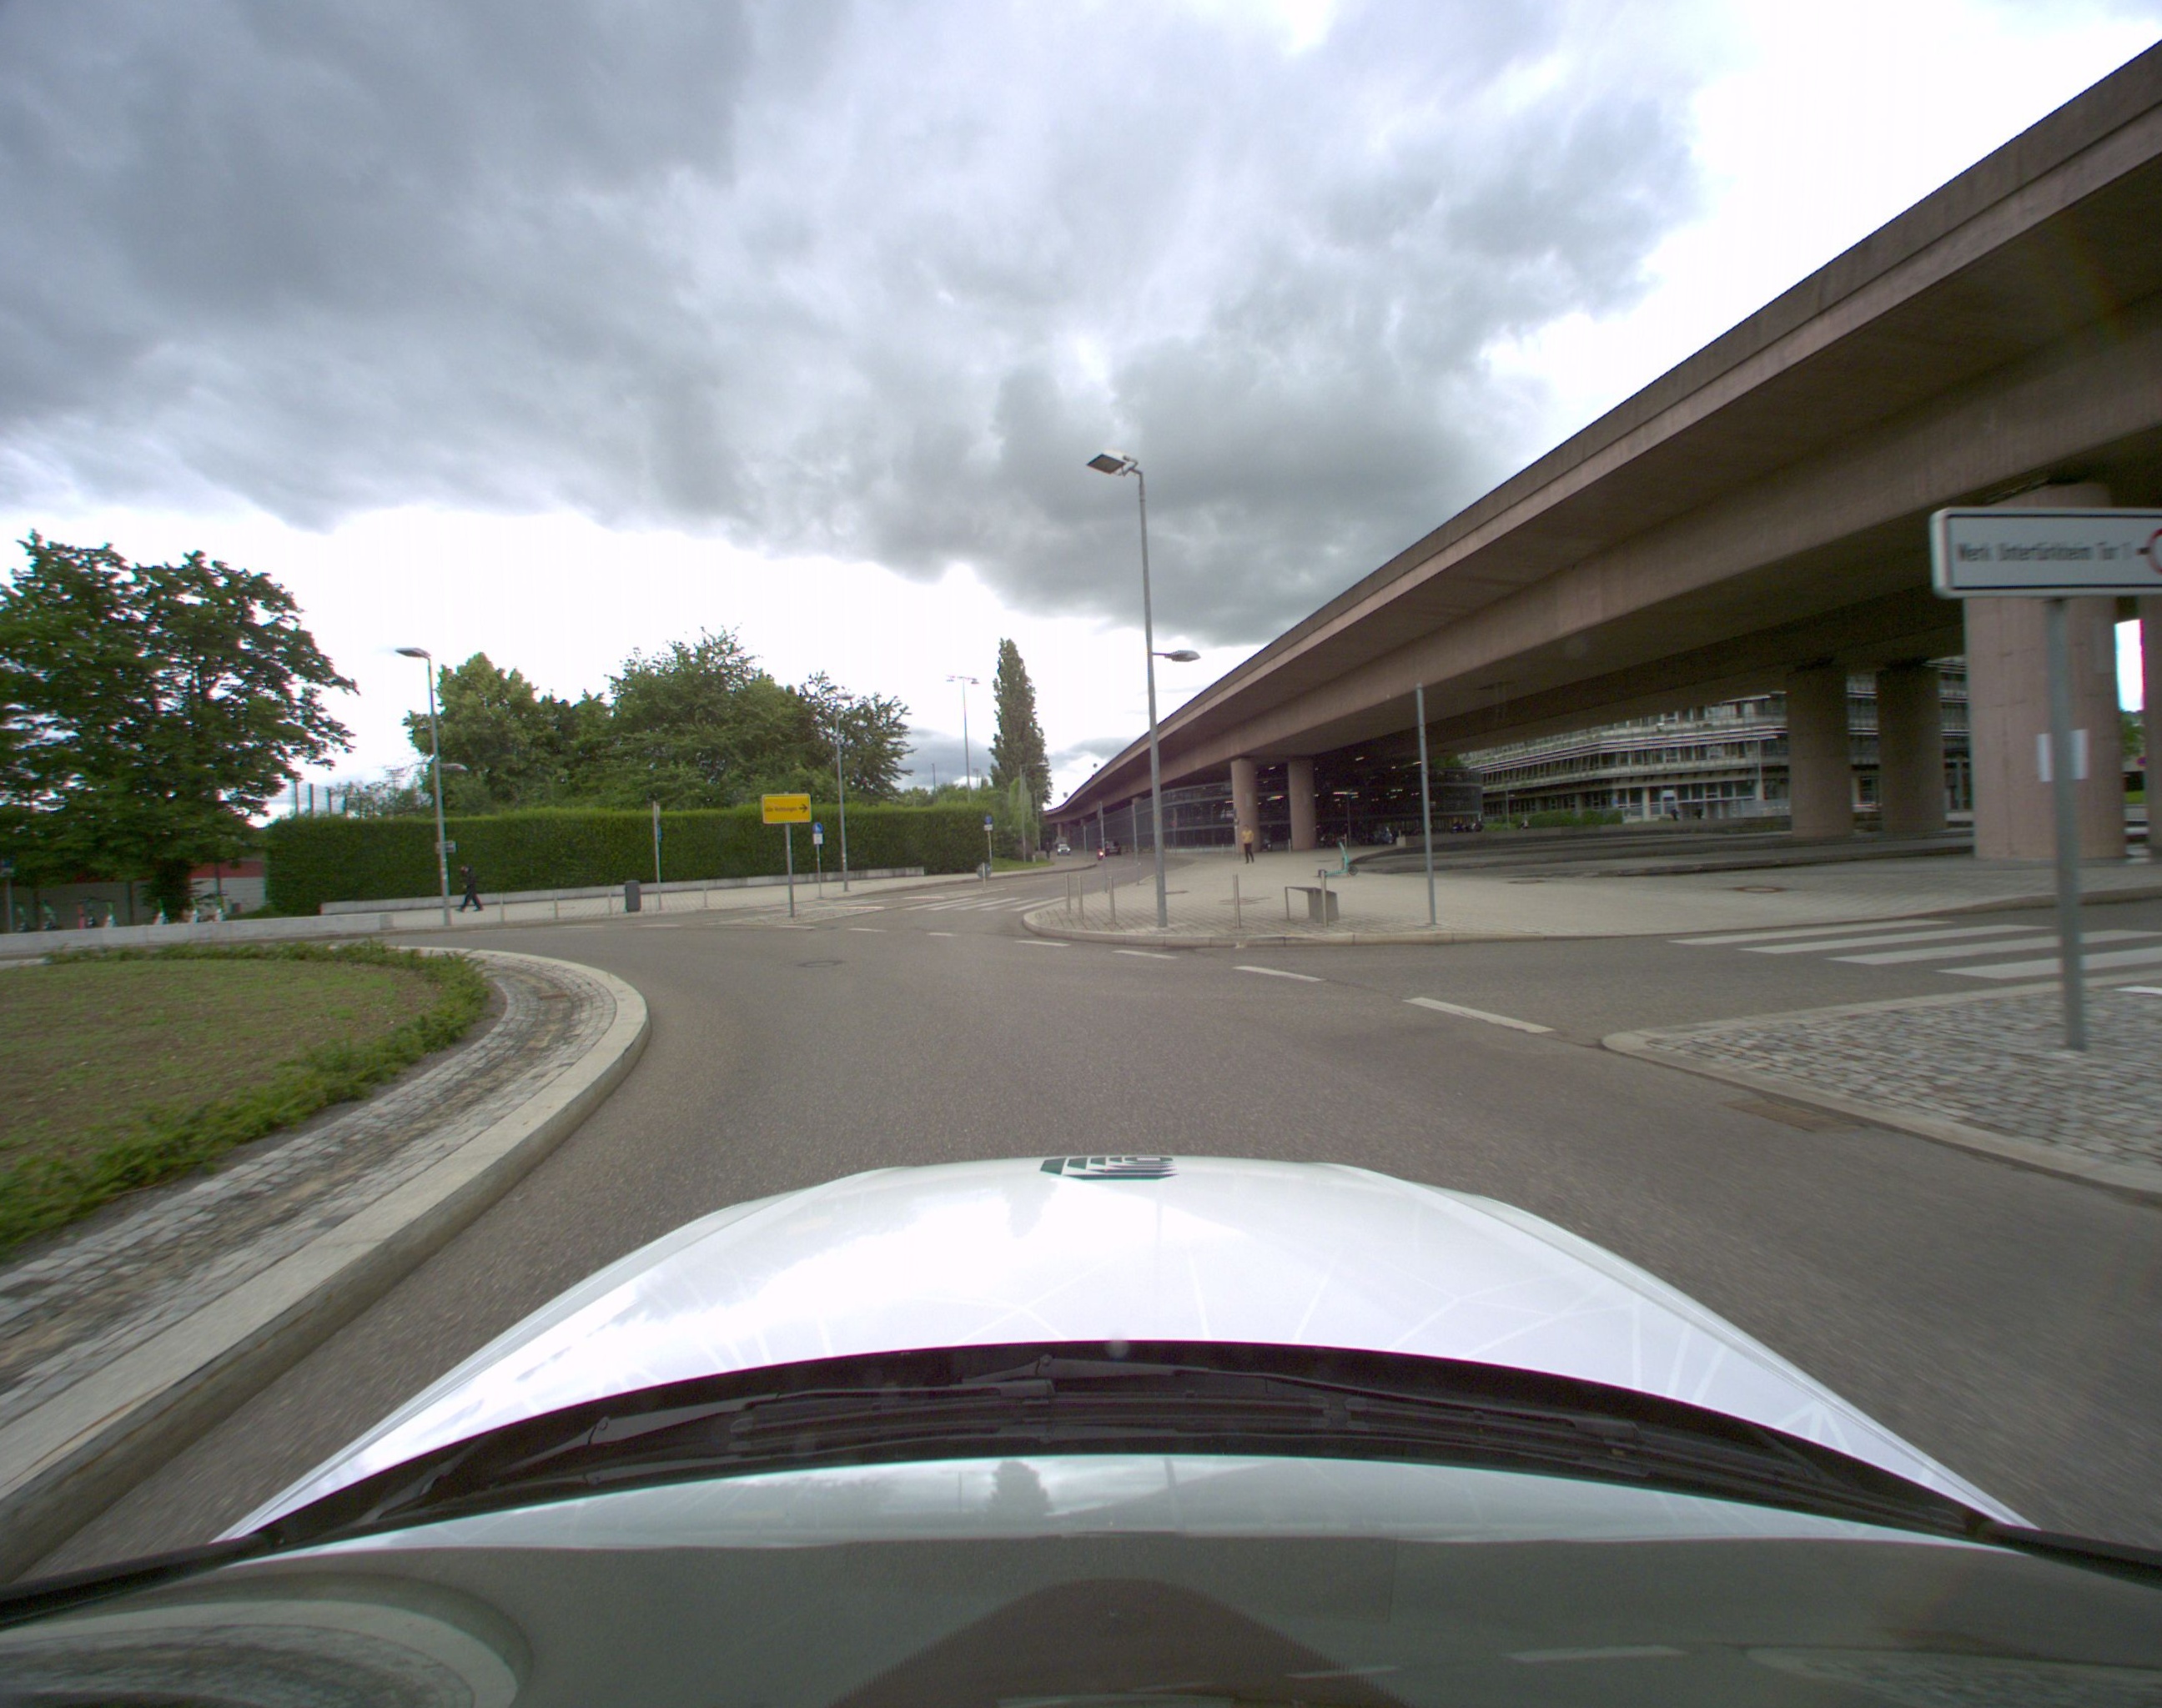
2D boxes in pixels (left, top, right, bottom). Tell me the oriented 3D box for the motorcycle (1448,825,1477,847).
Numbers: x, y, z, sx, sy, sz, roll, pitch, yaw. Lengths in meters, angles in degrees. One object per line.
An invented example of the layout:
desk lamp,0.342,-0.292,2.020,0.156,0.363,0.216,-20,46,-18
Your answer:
motorcycle,24.022,-1.150,51.251,1.945,1.264,0.543,-5,2,-27

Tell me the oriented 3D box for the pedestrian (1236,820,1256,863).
pedestrian,7.939,-0.601,39.279,0.778,2.013,1.042,-3,2,7

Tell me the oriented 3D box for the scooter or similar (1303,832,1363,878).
scooter or similar,7.658,0.026,24.790,1.634,1.295,0.520,-3,2,10

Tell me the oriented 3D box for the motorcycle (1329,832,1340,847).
motorcycle,21.263,-1.231,68.384,0.823,1.220,2.088,-3,2,17

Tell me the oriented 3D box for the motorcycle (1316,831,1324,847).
motorcycle,20.285,-1.275,69.065,0.516,1.220,1.155,-3,2,13

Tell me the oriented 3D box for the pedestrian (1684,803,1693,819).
pedestrian,58.841,-4.172,78.886,0.547,1.481,0.491,-5,2,-37

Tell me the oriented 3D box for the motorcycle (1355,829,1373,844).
motorcycle,23.829,-1.472,68.622,0.671,1.220,2.076,-4,2,-4

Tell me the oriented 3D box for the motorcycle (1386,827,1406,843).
motorcycle,26.658,-1.616,68.939,0.671,1.285,2.076,-4,2,-4

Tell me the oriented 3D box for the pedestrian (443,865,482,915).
pedestrian,-23.755,1.375,31.294,0.866,1.807,0.787,-4,2,-22

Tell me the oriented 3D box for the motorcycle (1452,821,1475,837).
motorcycle,33.187,-2.175,70.671,0.671,1.275,2.360,-4,2,-4

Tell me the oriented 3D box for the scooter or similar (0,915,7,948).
scooter or similar,-37.099,2.685,27.275,0.643,1.109,1.956,-5,2,-32

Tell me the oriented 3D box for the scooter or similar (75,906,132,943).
scooter or similar,-34.608,2.462,28.853,0.643,1.109,1.956,-5,2,-32

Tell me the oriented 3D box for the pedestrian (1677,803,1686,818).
pedestrian,59.903,-4.329,81.243,0.547,1.481,0.491,-5,2,-37

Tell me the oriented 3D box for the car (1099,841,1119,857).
car,3.202,-0.572,94.520,1.836,1.711,3.700,-4,2,-5

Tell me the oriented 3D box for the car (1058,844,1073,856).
car,-2.417,-0.631,126.848,1.862,1.683,4.395,-4,2,-7

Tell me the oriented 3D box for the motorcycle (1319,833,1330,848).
motorcycle,19.444,-1.056,65.126,0.515,1.171,1.157,-3,-1,31

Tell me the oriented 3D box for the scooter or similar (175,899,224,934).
scooter or similar,-32.610,2.296,30.158,0.643,1.109,1.956,-5,2,-32

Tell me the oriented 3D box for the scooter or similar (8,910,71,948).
scooter or similar,-35.843,2.571,28.058,0.643,1.109,1.956,-5,2,-32

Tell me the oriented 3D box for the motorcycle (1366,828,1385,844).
motorcycle,24.809,-1.517,68.654,0.671,1.220,2.076,-4,2,-4

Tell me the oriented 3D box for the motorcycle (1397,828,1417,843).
motorcycle,27.712,-1.609,69.169,0.671,1.220,2.076,-4,2,-4

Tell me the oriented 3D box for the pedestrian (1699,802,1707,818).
pedestrian,59.703,-4.206,78.180,0.547,1.481,0.491,-5,2,-37

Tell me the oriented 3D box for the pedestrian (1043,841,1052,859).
pedestrian,-3.610,-0.425,87.165,0.801,1.780,0.920,-4,2,-2

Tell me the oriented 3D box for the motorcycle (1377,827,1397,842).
motorcycle,25.858,-1.621,68.834,0.671,1.220,2.076,-4,2,-4

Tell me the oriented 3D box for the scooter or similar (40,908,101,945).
scooter or similar,-35.256,2.515,28.446,0.643,1.109,1.956,-5,2,-32

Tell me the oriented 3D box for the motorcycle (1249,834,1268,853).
motorcycle,14.379,-0.836,65.996,0.644,1.454,1.750,-4,2,-21

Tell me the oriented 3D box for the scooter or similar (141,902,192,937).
scooter or similar,-33.327,2.364,29.711,0.643,1.109,1.956,-5,2,-32

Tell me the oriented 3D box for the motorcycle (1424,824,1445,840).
motorcycle,29.661,-1.847,68.432,0.671,1.285,2.076,-4,2,-4

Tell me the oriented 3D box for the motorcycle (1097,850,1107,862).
motorcycle,2.019,0.204,78.326,0.744,1.022,1.955,-4,2,-2

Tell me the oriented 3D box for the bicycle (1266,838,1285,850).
bicycle,17.060,-0.844,71.430,1.459,0.976,0.454,-3,2,20

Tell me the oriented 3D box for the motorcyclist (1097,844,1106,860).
motorcyclist,1.998,-0.207,78.259,0.760,1.419,0.869,-4,2,-2

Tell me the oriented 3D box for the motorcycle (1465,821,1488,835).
motorcycle,34.596,-2.274,71.221,0.671,1.220,2.360,-4,2,-4

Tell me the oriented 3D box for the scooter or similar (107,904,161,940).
scooter or similar,-34.004,2.418,29.276,0.643,1.109,1.956,-5,2,-32

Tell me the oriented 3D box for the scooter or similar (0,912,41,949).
scooter or similar,-36.434,2.617,27.663,0.643,1.109,1.956,-5,2,-32

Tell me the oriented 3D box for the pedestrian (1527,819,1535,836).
pedestrian,52.998,-3.133,95.898,0.525,2.013,0.574,-3,0,3

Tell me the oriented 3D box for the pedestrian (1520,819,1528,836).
pedestrian,52.431,-3.113,96.435,0.525,2.013,0.574,-3,0,3
